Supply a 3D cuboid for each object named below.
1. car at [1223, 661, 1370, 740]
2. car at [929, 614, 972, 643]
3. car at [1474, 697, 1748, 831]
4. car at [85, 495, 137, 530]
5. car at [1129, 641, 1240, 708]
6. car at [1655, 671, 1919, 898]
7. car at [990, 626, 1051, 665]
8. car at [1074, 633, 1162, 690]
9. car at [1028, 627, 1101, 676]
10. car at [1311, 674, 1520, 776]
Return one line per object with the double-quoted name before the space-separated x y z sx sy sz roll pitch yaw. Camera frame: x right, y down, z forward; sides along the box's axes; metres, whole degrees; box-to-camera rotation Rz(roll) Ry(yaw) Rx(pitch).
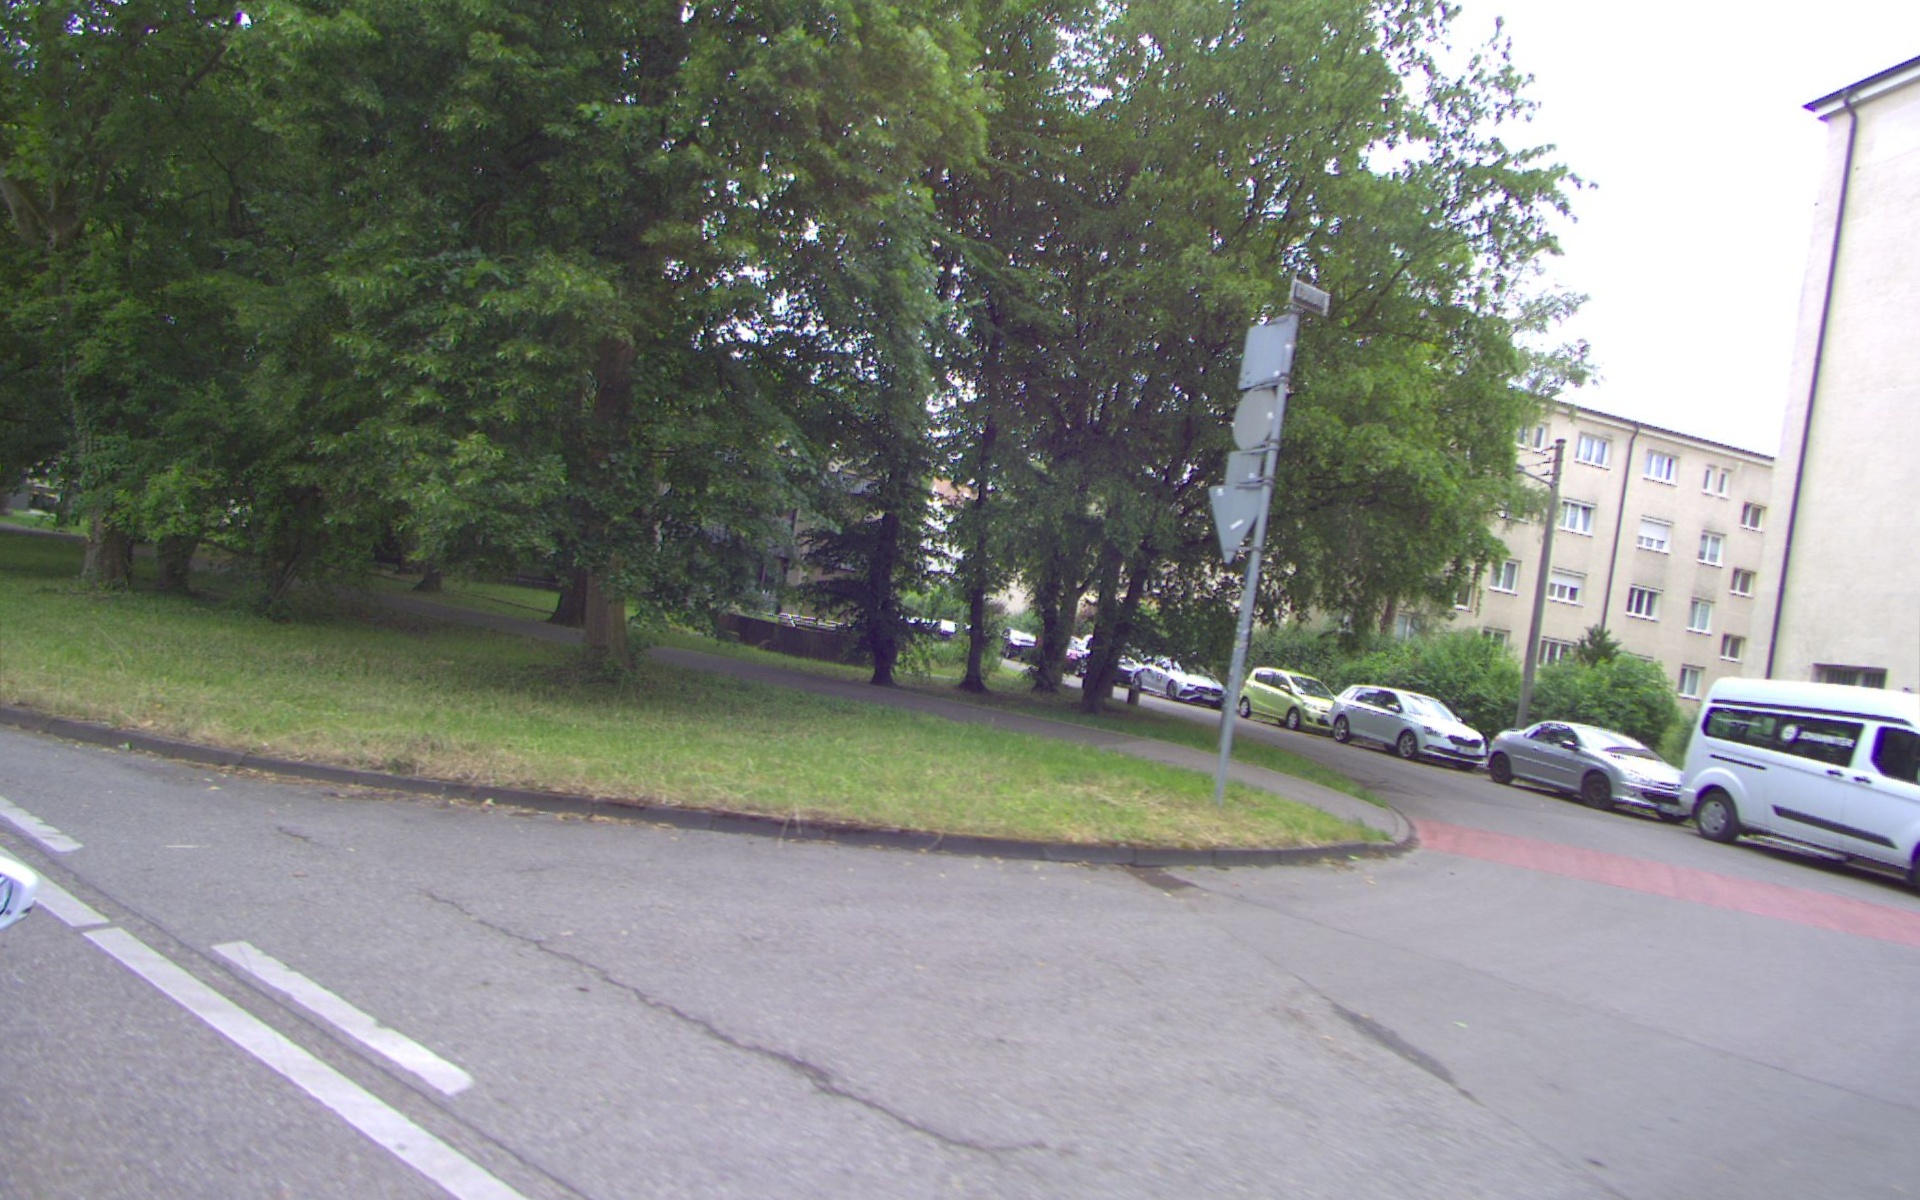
"car" 9.202 2.717 27.857 1.773 1.528 3.988 8 -1 -15
"car" -0.664 1.878 66.882 1.773 1.528 3.989 8 -1 -15
"car" 11.248 2.775 17.782 1.769 1.528 3.996 8 -1 -7
"car" -59.401 -6.135 70.349 4.900 1.866 2.082 8 1 43
"car" 7.397 2.429 33.535 1.773 1.694 3.989 8 -1 -15
"car" 11.835 2.338 12.591 2.251 2.326 5.327 8 -1 -1
"car" 3.059 2.298 51.696 1.773 1.528 3.989 8 -1 -15
"car" 6.085 2.360 39.267 1.773 1.694 3.989 8 -1 -15
"car" 4.613 2.271 44.992 1.773 1.694 3.989 8 -1 -15
"car" 10.196 2.755 22.984 1.772 1.528 4.593 8 -1 -13
